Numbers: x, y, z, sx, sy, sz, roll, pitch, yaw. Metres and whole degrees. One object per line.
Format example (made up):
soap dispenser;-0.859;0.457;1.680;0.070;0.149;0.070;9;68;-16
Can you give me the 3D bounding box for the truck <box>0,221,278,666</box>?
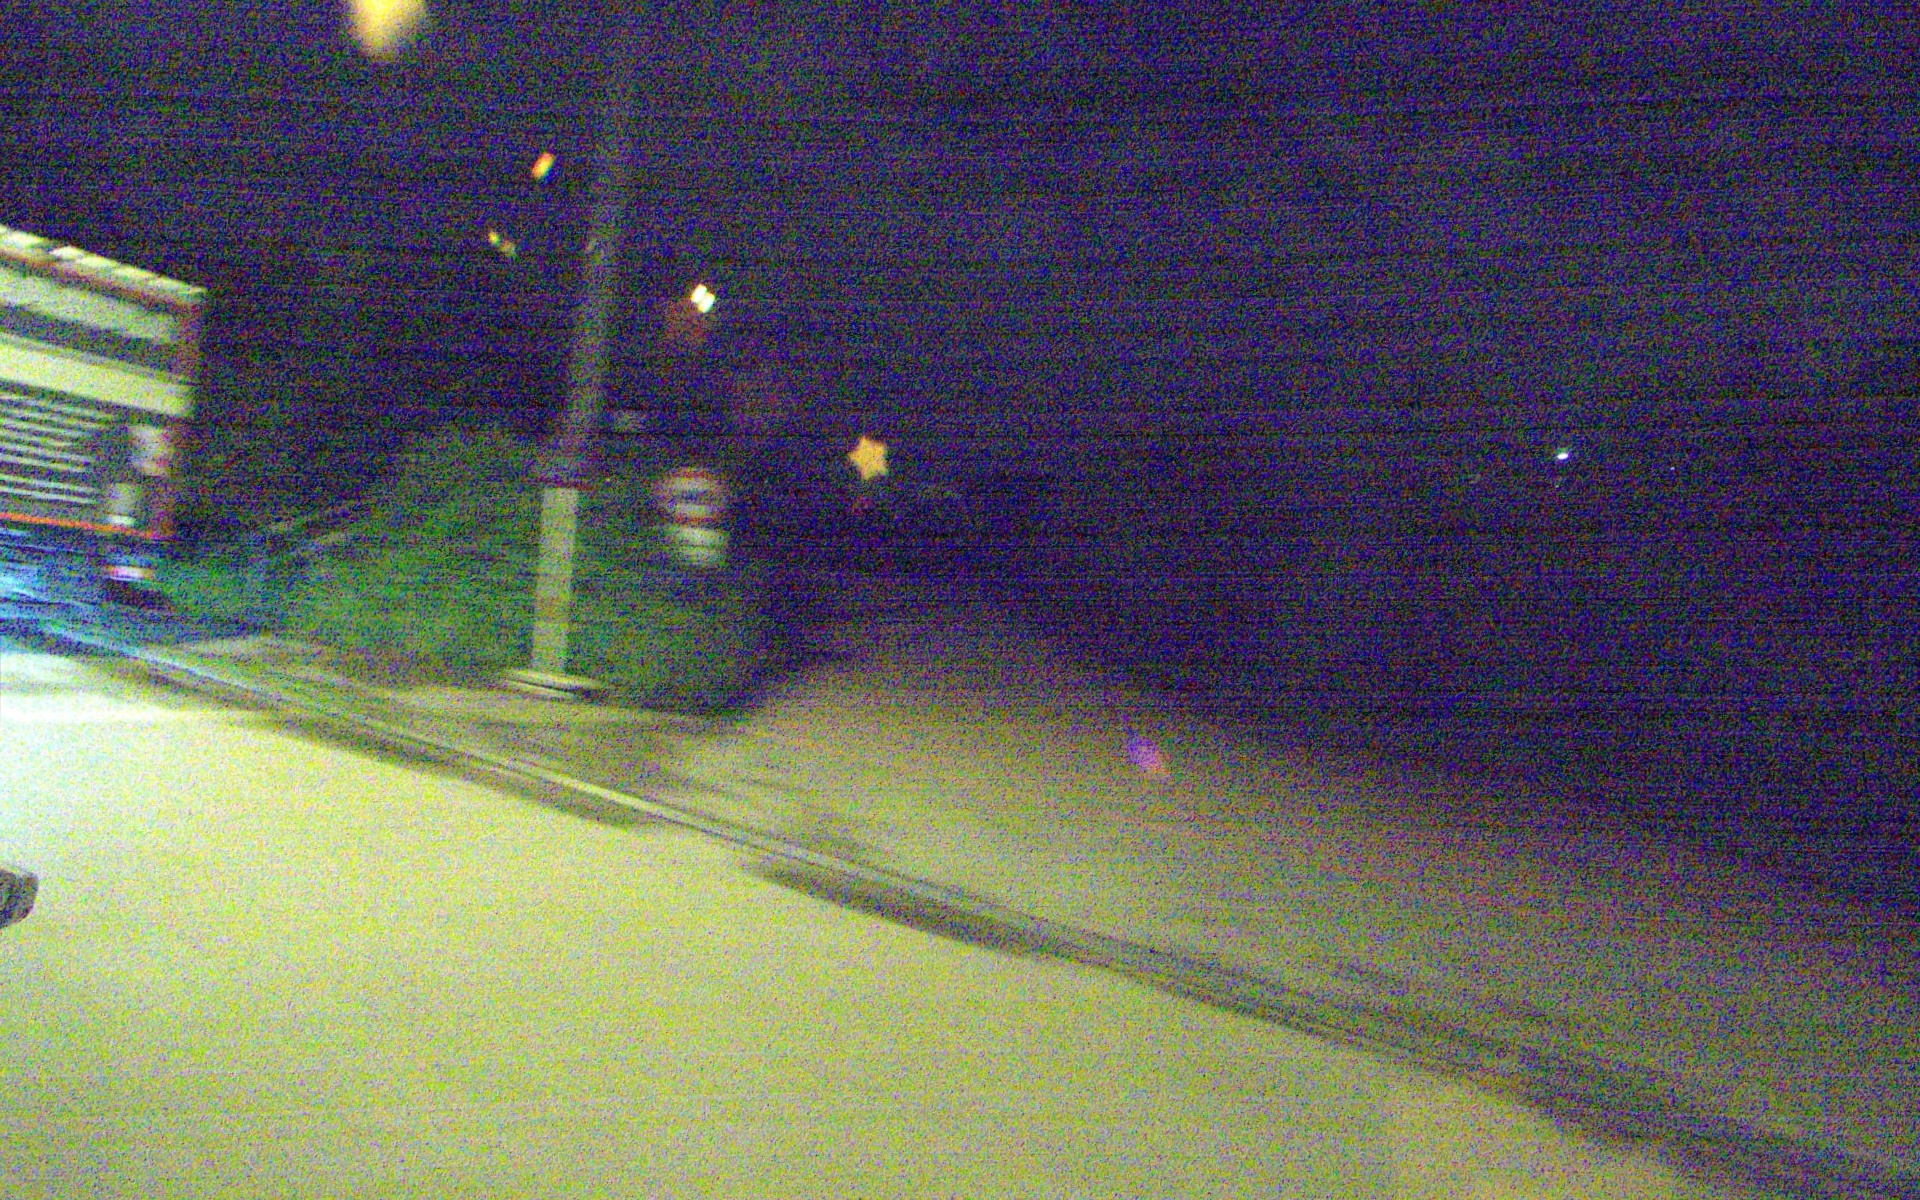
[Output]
truck;-12.397;-1.822;11.837;9.171;3.914;3.330;7;-1;31
